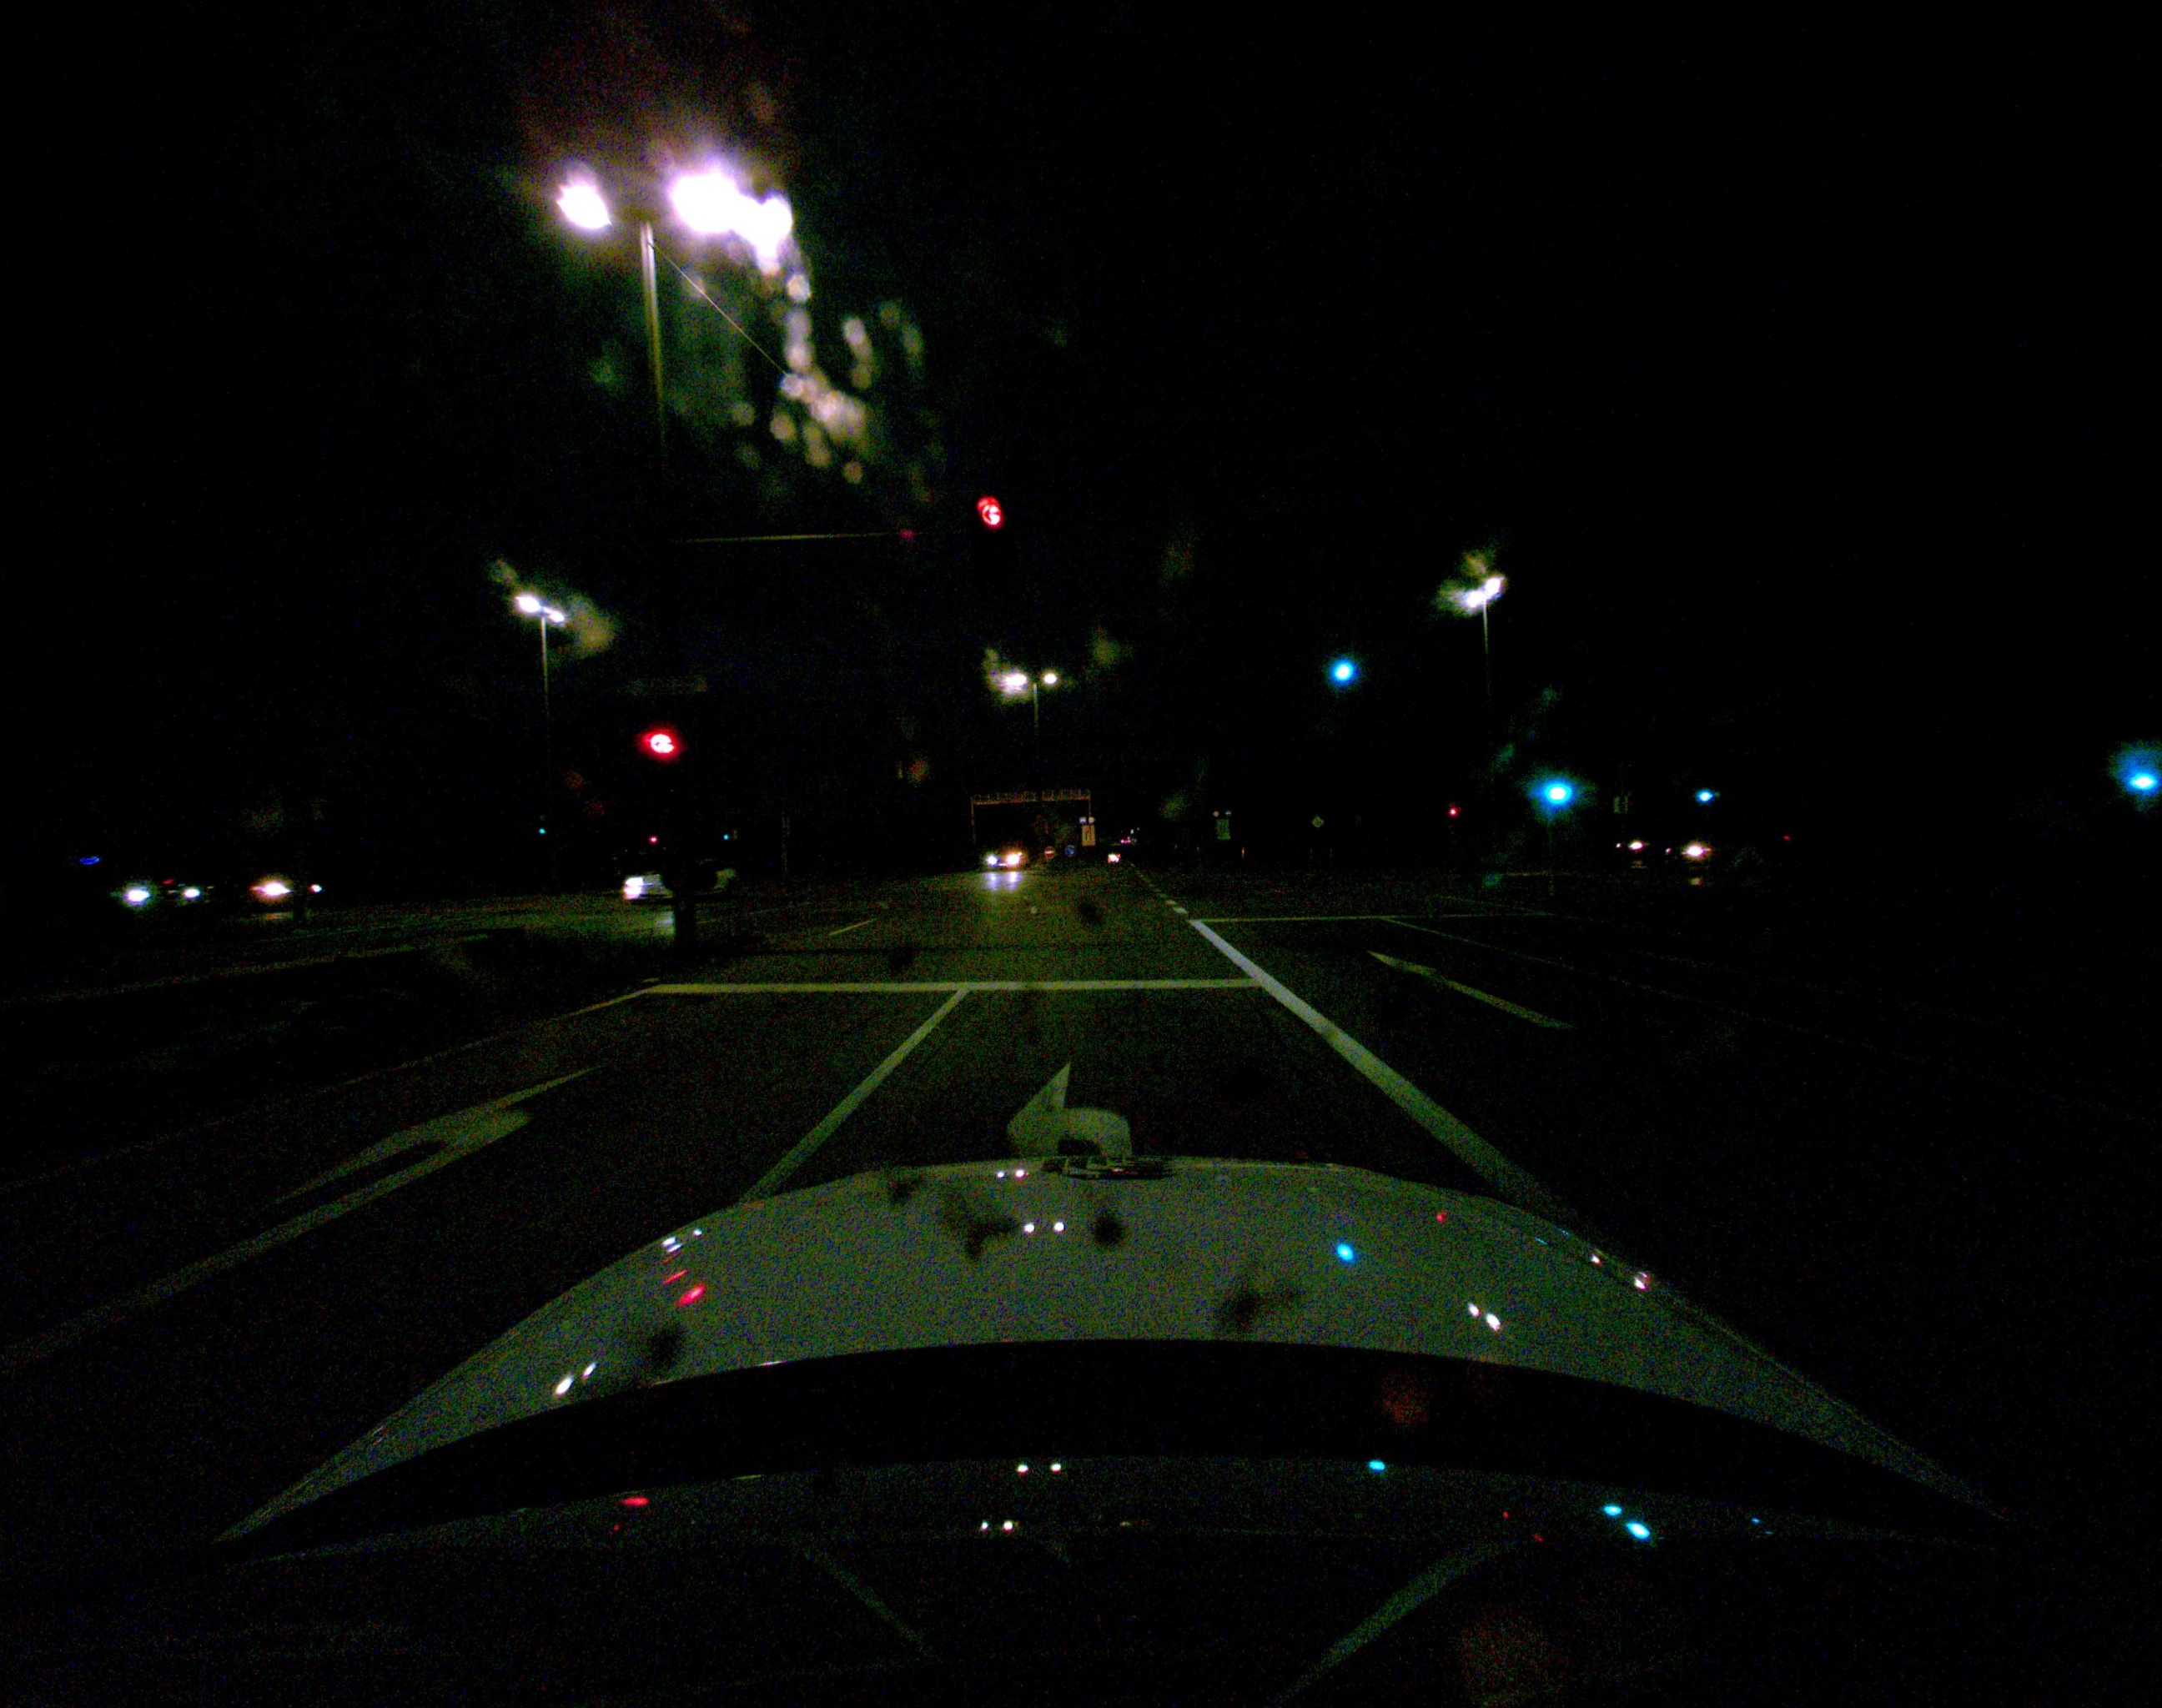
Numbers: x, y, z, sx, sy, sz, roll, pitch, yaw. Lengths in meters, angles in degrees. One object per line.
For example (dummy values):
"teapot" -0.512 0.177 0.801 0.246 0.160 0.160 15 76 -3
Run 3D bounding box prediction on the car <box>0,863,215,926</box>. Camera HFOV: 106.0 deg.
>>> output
"car" -27.181 1.096 22.643 4.299 1.537 1.729 -2 0 0

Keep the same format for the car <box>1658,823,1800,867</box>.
"car" 25.507 -0.370 32.136 4.062 1.569 2.001 -1 1 -2

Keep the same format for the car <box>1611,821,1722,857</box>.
"car" 27.995 -0.713 39.039 3.976 1.569 1.899 -2 1 -2

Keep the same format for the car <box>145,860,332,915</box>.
"car" -26.911 1.047 26.114 4.029 1.537 1.728 -2 0 -2

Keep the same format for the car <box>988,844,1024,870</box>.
"car" -5.046 0.174 55.221 1.987 1.698 4.001 -1 1 1

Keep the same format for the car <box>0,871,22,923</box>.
"car" -33.306 1.318 23.073 3.980 1.473 1.727 -2 0 -5

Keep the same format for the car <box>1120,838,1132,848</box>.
"car" 8.285 -2.003 148.988 1.999 1.611 3.850 -2 0 4

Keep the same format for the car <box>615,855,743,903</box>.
"car" -13.576 0.786 27.841 1.986 1.425 4.534 -1 0 2
